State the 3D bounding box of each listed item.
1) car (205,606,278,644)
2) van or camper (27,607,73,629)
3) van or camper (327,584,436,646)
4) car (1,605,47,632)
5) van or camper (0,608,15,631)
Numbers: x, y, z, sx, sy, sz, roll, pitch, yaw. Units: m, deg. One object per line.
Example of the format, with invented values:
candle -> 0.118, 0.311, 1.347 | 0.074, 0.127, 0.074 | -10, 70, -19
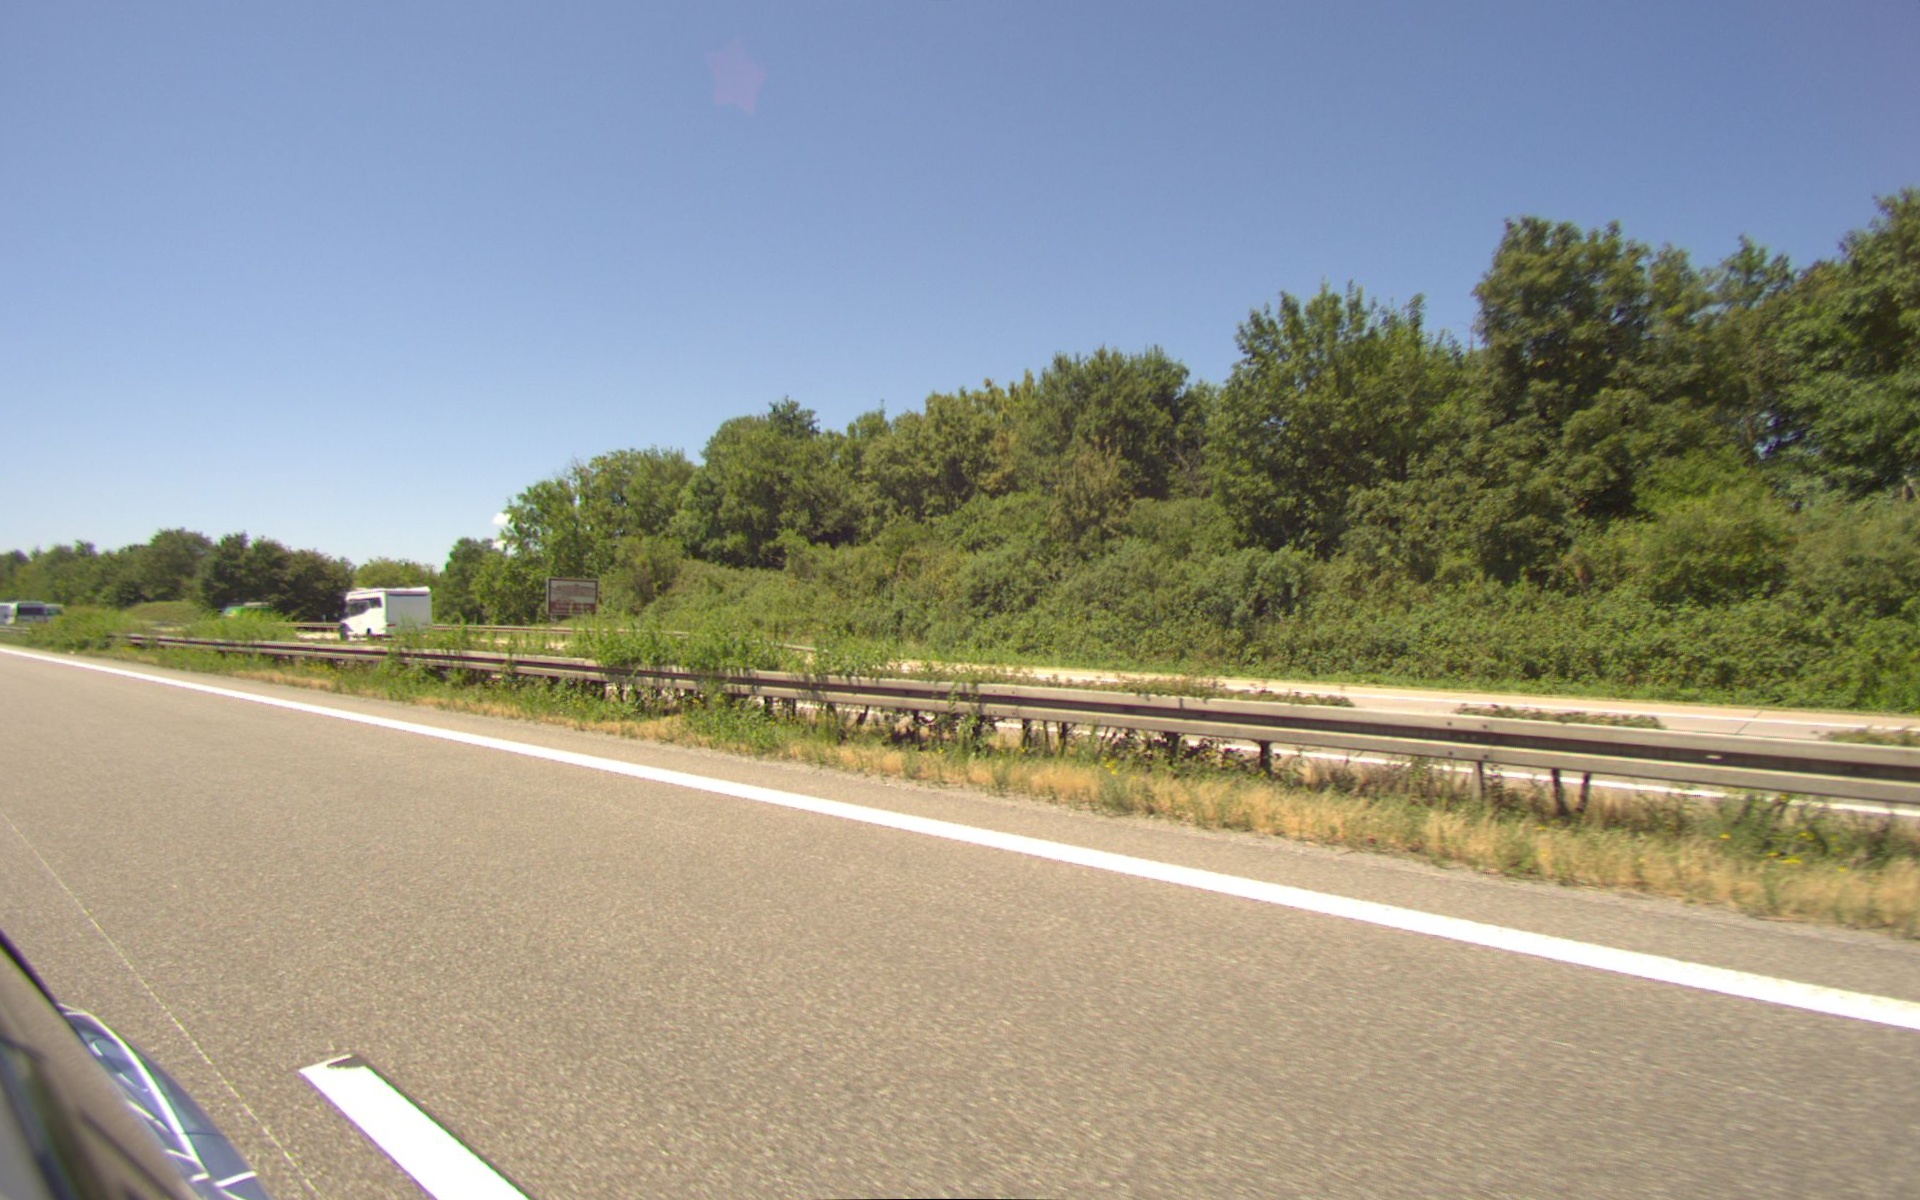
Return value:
car -> -43.138, 1.490, 60.673 | 5.943, 2.203, 2.258 | -1, -1, 41
van or camper -> -90.931, 1.795, 101.093 | 6.743, 2.203, 2.579 | -1, -1, 41
van or camper -> -30.467, 0.791, 53.168 | 7.752, 3.026, 2.579 | -1, -1, 41
car -> -78.022, 1.519, 84.330 | 6.382, 2.203, 2.208 | -1, -1, 41
van or camper -> -113.532, 2.292, 118.970 | 6.743, 2.711, 2.912 | -1, -1, 41
